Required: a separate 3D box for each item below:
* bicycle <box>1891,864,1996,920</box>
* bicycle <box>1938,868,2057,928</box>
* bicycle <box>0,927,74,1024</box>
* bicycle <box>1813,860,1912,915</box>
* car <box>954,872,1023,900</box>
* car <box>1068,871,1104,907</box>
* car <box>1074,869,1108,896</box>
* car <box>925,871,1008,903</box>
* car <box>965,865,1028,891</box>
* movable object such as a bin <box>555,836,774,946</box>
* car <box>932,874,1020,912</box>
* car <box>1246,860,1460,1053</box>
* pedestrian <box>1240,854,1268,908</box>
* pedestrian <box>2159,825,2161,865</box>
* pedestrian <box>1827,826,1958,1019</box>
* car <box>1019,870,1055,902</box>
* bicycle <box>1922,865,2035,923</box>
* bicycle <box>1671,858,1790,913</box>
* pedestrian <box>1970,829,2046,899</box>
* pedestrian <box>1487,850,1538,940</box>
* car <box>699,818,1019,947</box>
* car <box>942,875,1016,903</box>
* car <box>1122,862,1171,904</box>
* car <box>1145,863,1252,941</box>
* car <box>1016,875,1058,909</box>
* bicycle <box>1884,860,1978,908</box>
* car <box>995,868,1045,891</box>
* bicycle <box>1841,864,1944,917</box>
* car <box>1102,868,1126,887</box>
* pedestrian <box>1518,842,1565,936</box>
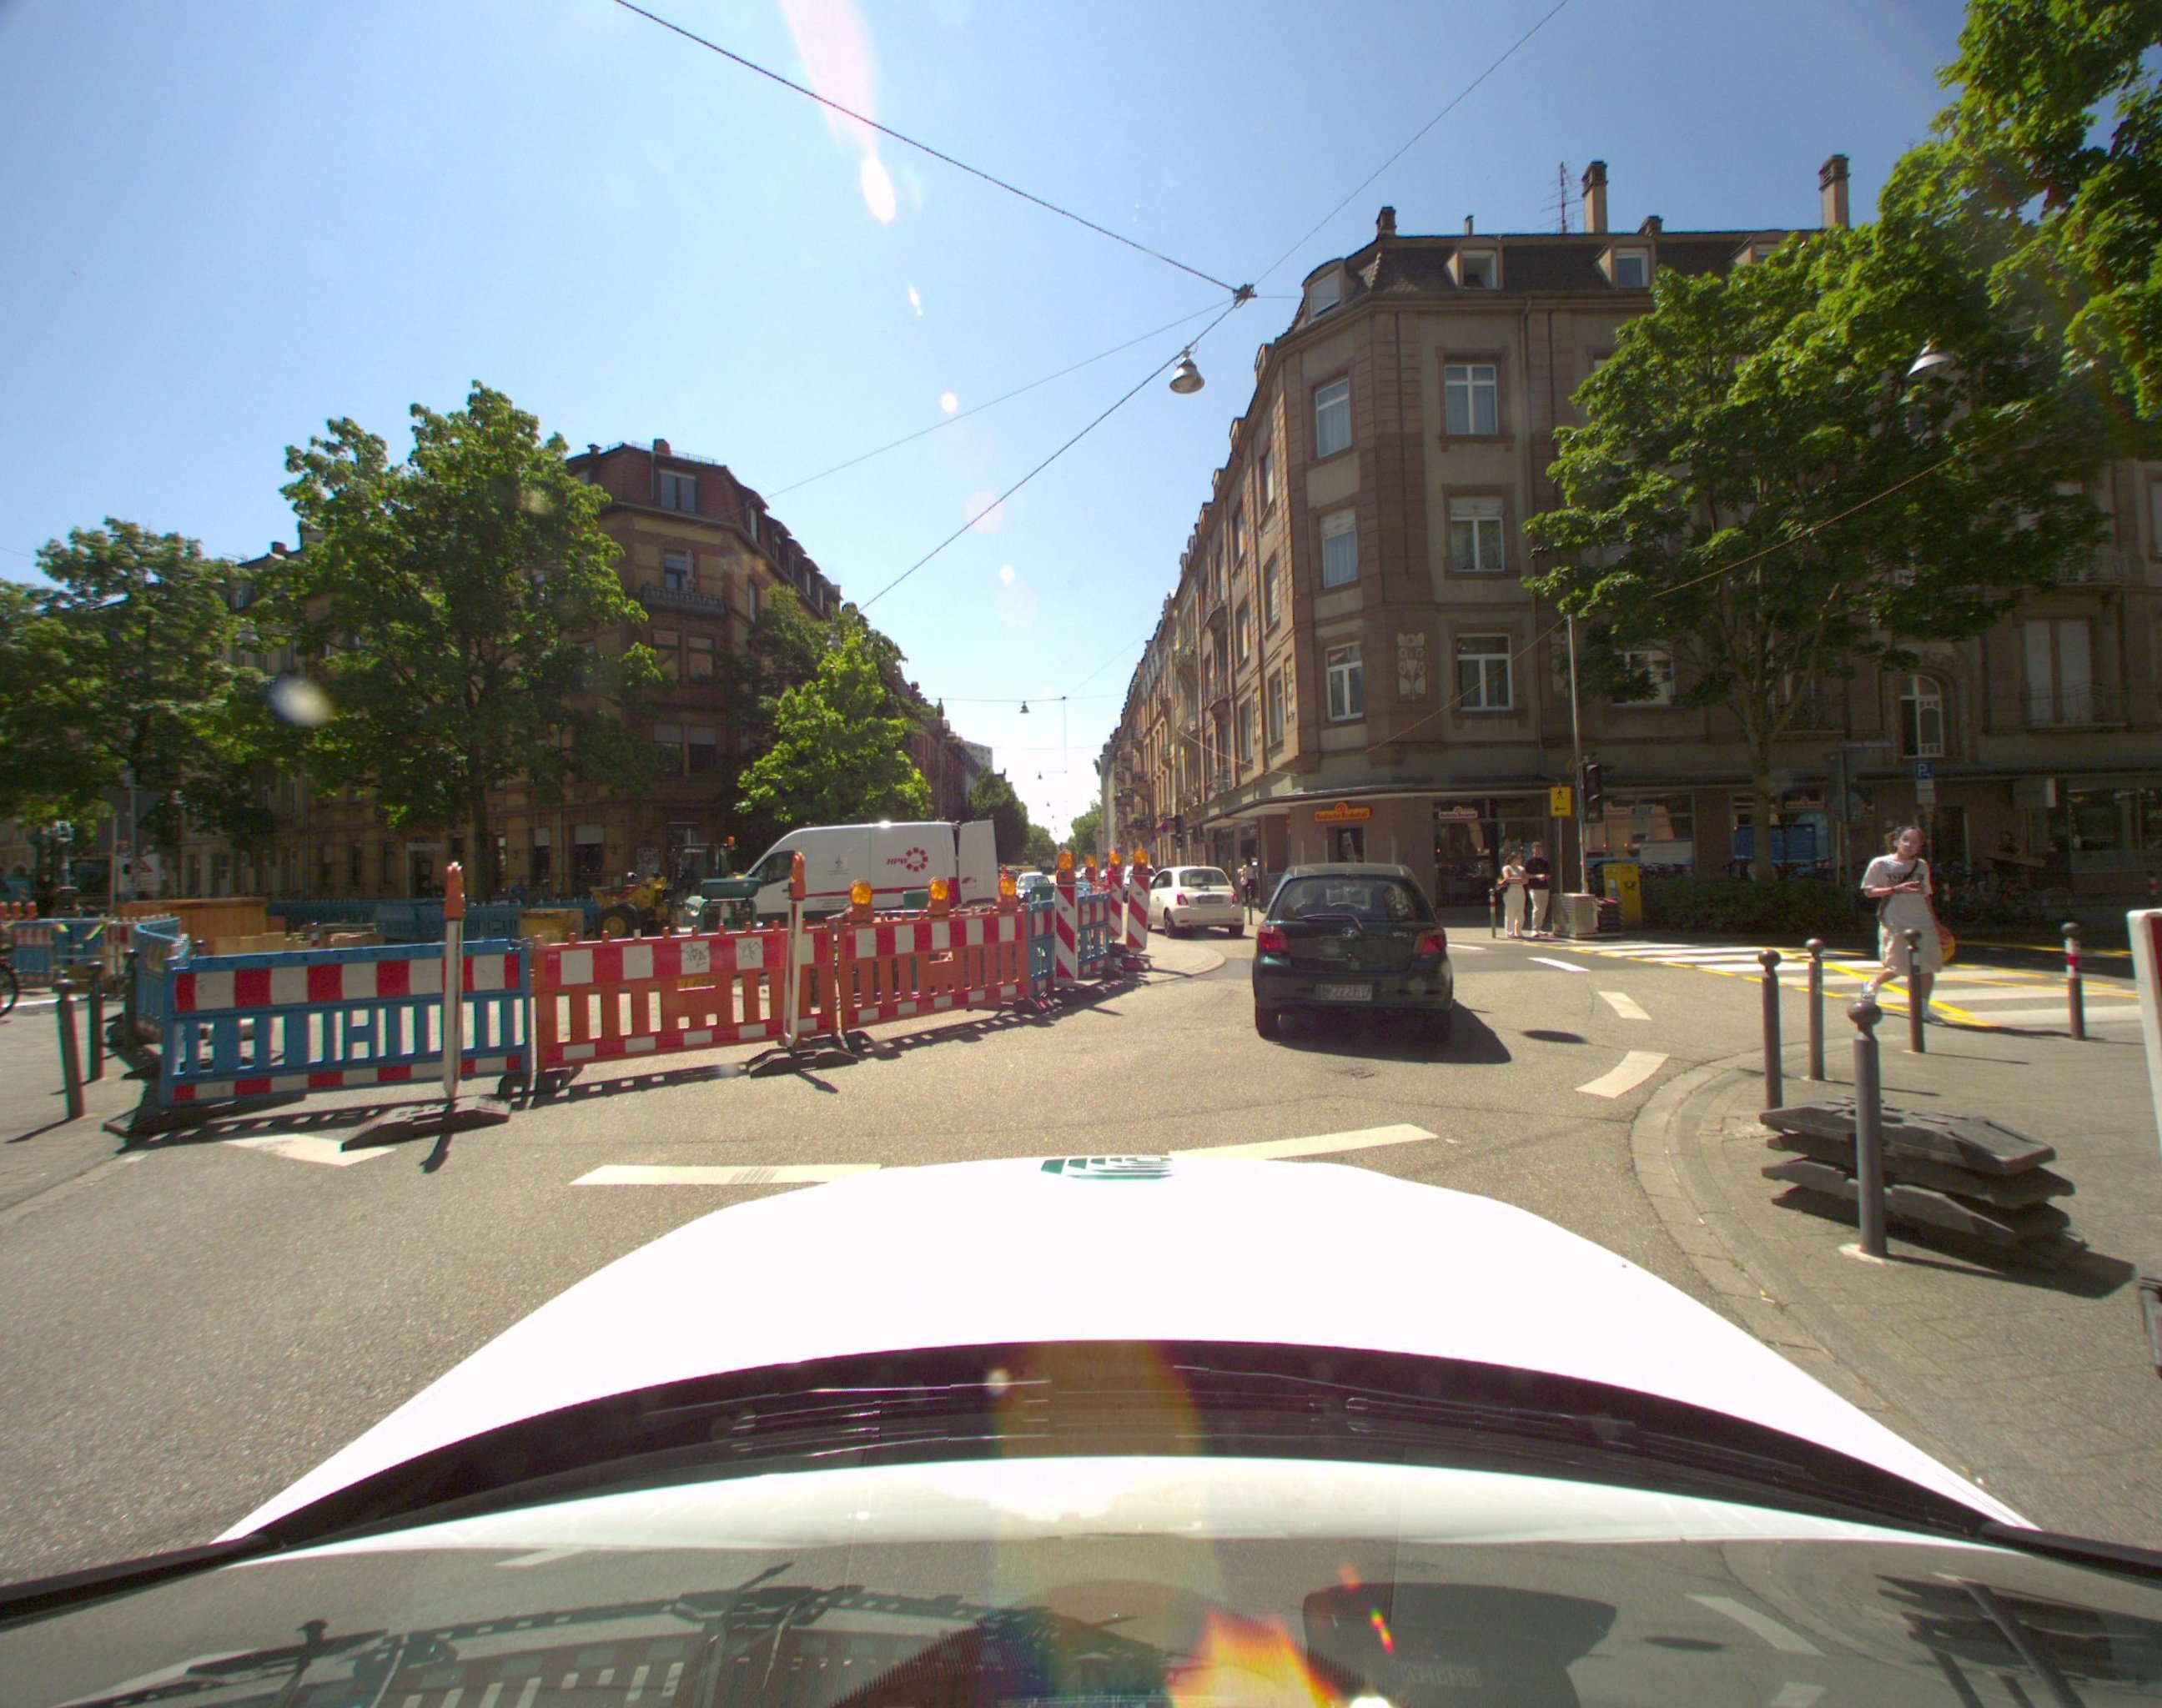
[{"bbox_3d":[16.859,0.726,15.931,1.681,1.006,0.470,-2,1,-5],"label":"bicycle"},{"bbox_3d":[16.545,0.785,14.712,1.757,0.996,0.470,-2,1,-5],"label":"bicycle"},{"bbox_3d":[-12.886,1.438,9.449,1.574,1.072,0.340,-2,-2,-18],"label":"bicycle"},{"bbox_3d":[16.484,0.700,17.183,1.757,1.080,0.470,-2,1,-5],"label":"bicycle"},{"bbox_3d":[-5.772,1.981,50.883,3.944,1.619,1.843,0,-2,-41],"label":"car"},{"bbox_3d":[0.215,1.617,38.863,1.519,1.592,3.260,-2,-1,-3],"label":"car"},{"bbox_3d":[0.623,1.878,54.150,1.988,1.618,3.998,-4,-1,-1],"label":"car"},{"bbox_3d":[-6.046,1.708,42.902,4.005,1.658,1.746,1,-2,-24],"label":"car"},{"bbox_3d":[-7.054,2.007,67.952,4.803,1.994,2.034,-1,-2,-30],"label":"car"},{"bbox_3d":[-10.533,0.921,20.911,4.535,2.659,1.952,0,-2,-5],"label":"movable object such as a bin"},{"bbox_3d":[-5.202,1.897,40.564,4.012,1.804,1.752,1,-2,-30],"label":"car"},{"bbox_3d":[2.579,0.824,8.099,1.602,1.485,3.254,-1,-1,15],"label":"car"},{"bbox_3d":[5.392,0.842,25.364,0.639,1.623,0.804,-2,-1,-1],"label":"pedestrian"},{"bbox_3d":[25.245,0.120,18.564,0.488,1.614,0.560,-2,-1,4],"label":"pedestrian"},{"bbox_3d":[7.751,0.631,7.823,0.473,1.733,0.875,-2,-3,18],"label":"pedestrian"},{"bbox_3d":[-2.502,1.816,46.889,1.749,1.645,4.375,-5,-1,-1],"label":"car"},{"bbox_3d":[16.928,0.739,15.364,1.757,0.996,0.470,-2,1,-5],"label":"bicycle"},{"bbox_3d":[14.275,0.694,17.945,1.965,1.132,0.519,-2,-1,16],"label":"bicycle"},{"bbox_3d":[22.336,0.238,19.643,0.854,1.634,0.787,-2,-1,-2],"label":"pedestrian"},{"bbox_3d":[8.319,0.776,15.713,0.701,1.645,0.421,-4,2,-9],"label":"pedestrian"},{"bbox_3d":[-4.827,0.626,18.605,6.600,2.752,2.379,0,-1,0],"label":"car"},{"bbox_3d":[-5.929,2.020,47.769,3.944,1.470,1.843,0,-2,-42],"label":"car"},{"bbox_3d":[3.000,1.331,38.166,1.865,1.713,4.502,-3,-1,0],"label":"car"},{"bbox_3d":[2.489,0.989,17.988,1.521,1.521,3.256,-2,-1,-7],"label":"car"},{"bbox_3d":[-2.052,1.788,38.830,1.749,1.444,3.998,-2,-1,-1],"label":"car"},{"bbox_3d":[19.231,0.665,18.428,1.721,0.996,0.504,-2,1,-5],"label":"bicycle"},{"bbox_3d":[-6.024,2.521,80.497,4.584,2.188,1.982,-1,-2,-28],"label":"car"},{"bbox_3d":[16.626,0.734,16.691,1.757,0.996,0.470,-2,1,-5],"label":"bicycle"},{"bbox_3d":[2.670,1.863,66.158,1.749,1.429,3.998,-2,-1,-1],"label":"car"},{"bbox_3d":[8.971,0.669,15.866,0.575,1.768,0.470,-4,2,-9],"label":"pedestrian"}]
